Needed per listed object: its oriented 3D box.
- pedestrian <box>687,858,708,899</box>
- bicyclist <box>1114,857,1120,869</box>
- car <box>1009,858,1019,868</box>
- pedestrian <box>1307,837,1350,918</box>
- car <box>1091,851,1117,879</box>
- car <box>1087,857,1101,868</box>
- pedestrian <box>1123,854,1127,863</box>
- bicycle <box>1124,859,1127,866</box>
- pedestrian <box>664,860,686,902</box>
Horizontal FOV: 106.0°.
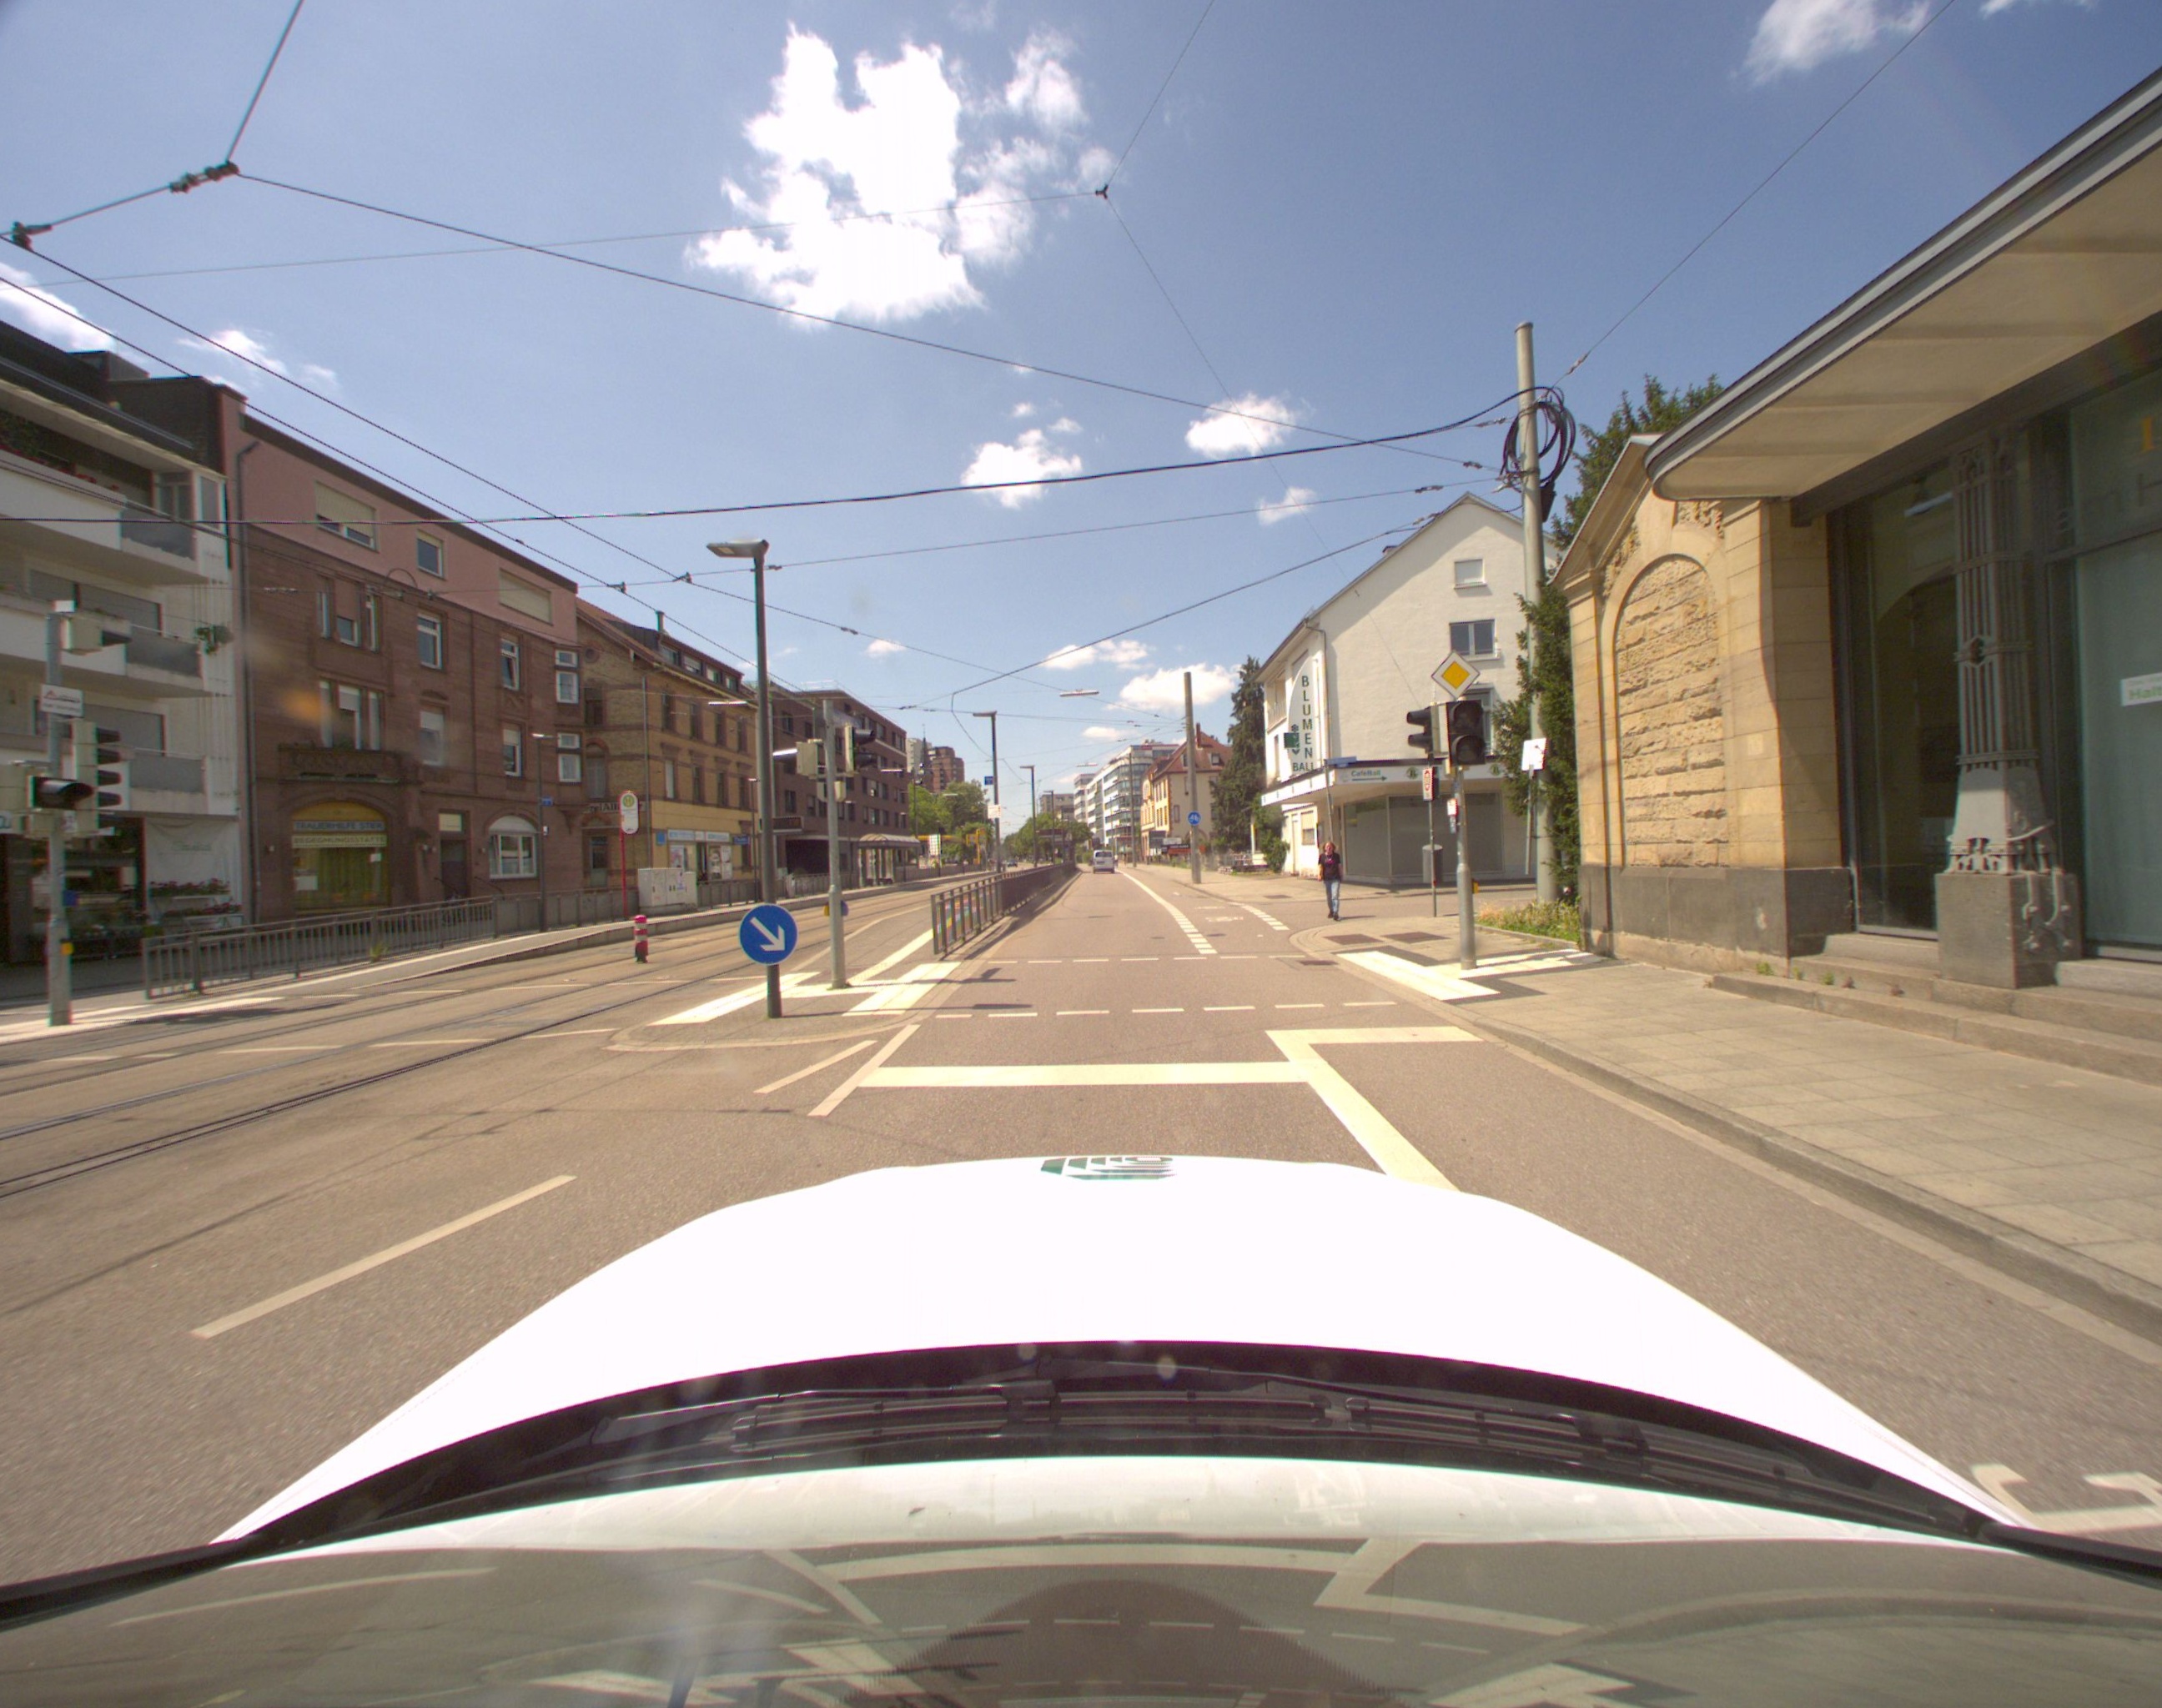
[{"bbox_3d":[-19.189,1.238,40.746,0.674,2.014,0.684,-1,-1,-1],"label":"pedestrian"},{"bbox_3d":[4.218,1.015,95.875,0.590,1.397,0.840,-2,0,-3],"label":"bicyclist"},{"bbox_3d":[-12.805,1.714,155.526,1.696,1.616,3.751,-4,-1,-5],"label":"car"},{"bbox_3d":[4.974,0.468,16.399,0.574,1.556,0.787,-4,-1,4],"label":"pedestrian"},{"bbox_3d":[1.875,0.833,65.317,1.744,2.013,4.004,-3,0,4],"label":"car"},{"bbox_3d":[2.245,1.440,137.743,1.859,1.687,4.993,-3,0,-4],"label":"car"},{"bbox_3d":[5.852,0.597,107.895,0.481,1.053,0.537,-4,-1,2],"label":"pedestrian"},{"bbox_3d":[5.888,1.094,107.891,0.355,0.940,1.318,-4,-1,2],"label":"bicycle"},{"bbox_3d":[-20.299,1.344,40.759,0.616,2.013,0.810,-3,0,-1],"label":"pedestrian"}]
